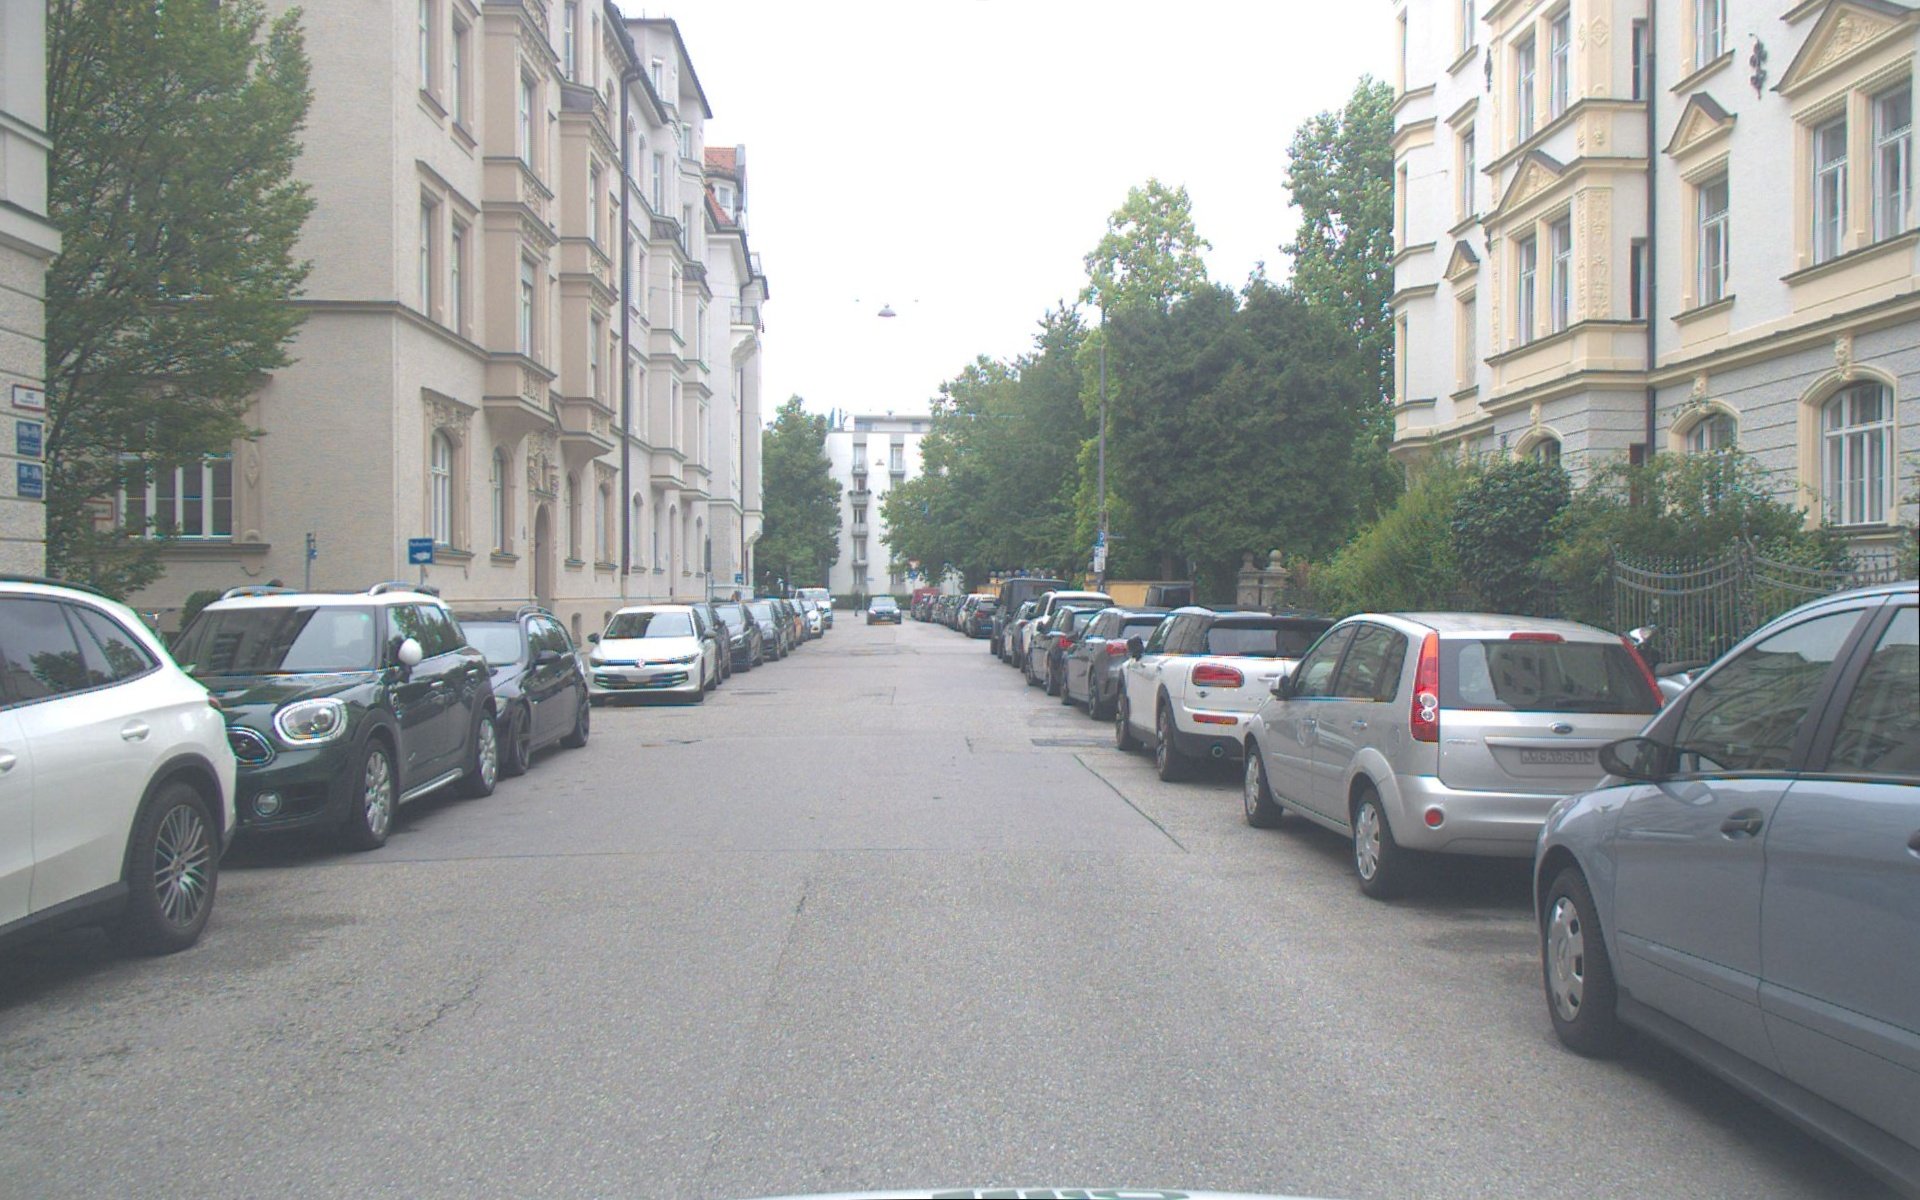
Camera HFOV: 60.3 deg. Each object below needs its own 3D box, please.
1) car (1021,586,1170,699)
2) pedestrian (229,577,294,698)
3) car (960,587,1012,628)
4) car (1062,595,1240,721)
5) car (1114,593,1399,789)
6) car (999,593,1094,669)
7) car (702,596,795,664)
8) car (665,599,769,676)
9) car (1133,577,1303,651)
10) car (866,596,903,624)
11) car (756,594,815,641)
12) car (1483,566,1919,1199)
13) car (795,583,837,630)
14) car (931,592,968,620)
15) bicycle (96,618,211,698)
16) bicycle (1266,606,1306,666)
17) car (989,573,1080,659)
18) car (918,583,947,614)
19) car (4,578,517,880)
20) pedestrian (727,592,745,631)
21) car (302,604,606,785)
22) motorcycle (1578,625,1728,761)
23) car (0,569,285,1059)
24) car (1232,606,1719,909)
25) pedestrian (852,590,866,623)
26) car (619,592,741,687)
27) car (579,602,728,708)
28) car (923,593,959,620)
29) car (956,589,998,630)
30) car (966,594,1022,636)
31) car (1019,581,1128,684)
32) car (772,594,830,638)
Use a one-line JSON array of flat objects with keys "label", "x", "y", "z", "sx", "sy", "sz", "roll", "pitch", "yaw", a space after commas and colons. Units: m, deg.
[{"label": "car", "x": 2.151, "y": 0.635, "z": 27.424, "sx": 1.716, "sy": 1.639, "sz": 4.419, "roll": 2, "pitch": 1, "yaw": -5}, {"label": "pedestrian", "x": -9.711, "y": 0.513, "z": 23.010, "sx": 0.660, "sy": 1.654, "sz": 0.630, "roll": 0, "pitch": 0, "yaw": -5}, {"label": "car", "x": 0.995, "y": 0.294, "z": 65.357, "sx": 1.620, "sy": 1.545, "sz": 3.790, "roll": 1, "pitch": 0, "yaw": -5}, {"label": "car", "x": 2.477, "y": 0.707, "z": 22.339, "sx": 1.651, "sy": 1.530, "sz": 4.014, "roll": 1, "pitch": 0, "yaw": -4}, {"label": "car", "x": 2.536, "y": 0.713, "z": 15.109, "sx": 1.748, "sy": 1.530, "sz": 4.063, "roll": 1, "pitch": 0, "yaw": -2}, {"label": "car", "x": 1.899, "y": 0.669, "z": 37.204, "sx": 1.689, "sy": 1.545, "sz": 3.628, "roll": 3, "pitch": 0, "yaw": -4}, {"label": "car", "x": -5.225, "y": 0.709, "z": 41.405, "sx": 1.799, "sy": 1.460, "sz": 4.243, "roll": -3, "pitch": 1, "yaw": -1}, {"label": "car", "x": -5.234, "y": 0.768, "z": 36.107, "sx": 1.797, "sy": 1.459, "sz": 4.551, "roll": -2, "pitch": 1, "yaw": -3}, {"label": "car", "x": 7.357, "y": 0.381, "z": 47.323, "sx": 4.445, "sy": 1.984, "sz": 1.900, "roll": -1, "pitch": 2, "yaw": -9}, {"label": "car", "x": -4.085, "y": 0.501, "z": 88.840, "sx": 1.837, "sy": 1.453, "sz": 4.405, "roll": 0, "pitch": 0, "yaw": -4}, {"label": "car", "x": -6.022, "y": 0.574, "z": 57.359, "sx": 1.691, "sy": 1.526, "sz": 3.929, "roll": -2, "pitch": 0, "yaw": -1}, {"label": "car", "x": 2.989, "y": 0.755, "z": 4.364, "sx": 1.785, "sy": 1.596, "sz": 4.400, "roll": 3, "pitch": 1, "yaw": 0}, {"label": "car", "x": -7.010, "y": 0.284, "z": 80.734, "sx": 1.849, "sy": 2.164, "sz": 4.703, "roll": -3, "pitch": 1, "yaw": -4}, {"label": "car", "x": -0.620, "y": 0.326, "z": 94.561, "sx": 1.803, "sy": 1.545, "sz": 3.943, "roll": 1, "pitch": 0, "yaw": -5}, {"label": "bicycle", "x": -11.886, "y": 0.831, "z": 24.456, "sx": 0.679, "sy": 0.977, "sz": 2.009, "roll": 3, "pitch": 3, "yaw": 0}, {"label": "bicycle", "x": 6.205, "y": 0.675, "z": 31.523, "sx": 0.445, "sy": 1.118, "sz": 1.312, "roll": 0, "pitch": 0, "yaw": -3}, {"label": "car", "x": 1.845, "y": 0.346, "z": 42.276, "sx": 1.911, "sy": 1.988, "sz": 4.664, "roll": 1, "pitch": 1, "yaw": -2}, {"label": "car", "x": -1.819, "y": -0.110, "z": 110.611, "sx": 1.799, "sy": 1.960, "sz": 4.005, "roll": 2, "pitch": 1, "yaw": 0}, {"label": "car", "x": -4.390, "y": 0.679, "z": 11.181, "sx": 1.799, "sy": 1.647, "sz": 4.243, "roll": 0, "pitch": 1, "yaw": -2}, {"label": "pedestrian", "x": -9.964, "y": 0.508, "z": 73.596, "sx": 0.778, "sy": 1.708, "sz": 0.698, "roll": 0, "pitch": 0, "yaw": -11}, {"label": "car", "x": -4.692, "y": 0.795, "z": 16.015, "sx": 1.751, "sy": 1.437, "sz": 4.365, "roll": 0, "pitch": 1, "yaw": -2}, {"label": "motorcycle", "x": 6.330, "y": 0.814, "z": 15.212, "sx": 0.594, "sy": 1.132, "sz": 1.965, "roll": 0, "pitch": 0, "yaw": 1}, {"label": "car", "x": -4.168, "y": 0.717, "z": 5.708, "sx": 1.876, "sy": 1.647, "sz": 4.570, "roll": 0, "pitch": 1, "yaw": -1}, {"label": "car", "x": 2.808, "y": 0.780, "z": 9.808, "sx": 1.719, "sy": 1.431, "sz": 3.450, "roll": 1, "pitch": 0, "yaw": -2}, {"label": "pedestrian", "x": -7.247, "y": 0.468, "z": 119.180, "sx": 0.829, "sy": 2.325, "sz": 0.838, "roll": 0, "pitch": 0, "yaw": -18}, {"label": "car", "x": -5.204, "y": 0.681, "z": 31.234, "sx": 1.735, "sy": 1.544, "sz": 4.382, "roll": -3, "pitch": 1, "yaw": -4}, {"label": "car", "x": -4.833, "y": 0.816, "z": 26.600, "sx": 1.800, "sy": 1.459, "sz": 4.242, "roll": -2, "pitch": 1, "yaw": -3}, {"label": "car", "x": -1.152, "y": 0.364, "z": 98.720, "sx": 1.803, "sy": 1.545, "sz": 3.943, "roll": 1, "pitch": 0, "yaw": -5}, {"label": "car", "x": 0.695, "y": 0.403, "z": 70.075, "sx": 1.484, "sy": 1.690, "sz": 3.671, "roll": 1, "pitch": 0, "yaw": -4}, {"label": "car", "x": 1.207, "y": 0.537, "z": 60.305, "sx": 1.801, "sy": 1.438, "sz": 4.341, "roll": 1, "pitch": 0, "yaw": -2}, {"label": "car", "x": 2.160, "y": 0.606, "z": 32.506, "sx": 1.688, "sy": 1.800, "sz": 4.412, "roll": 2, "pitch": 0, "yaw": -1}, {"label": "car", "x": -5.934, "y": 0.568, "z": 62.258, "sx": 1.799, "sy": 1.463, "sz": 4.274, "roll": -3, "pitch": 1, "yaw": -1}]
